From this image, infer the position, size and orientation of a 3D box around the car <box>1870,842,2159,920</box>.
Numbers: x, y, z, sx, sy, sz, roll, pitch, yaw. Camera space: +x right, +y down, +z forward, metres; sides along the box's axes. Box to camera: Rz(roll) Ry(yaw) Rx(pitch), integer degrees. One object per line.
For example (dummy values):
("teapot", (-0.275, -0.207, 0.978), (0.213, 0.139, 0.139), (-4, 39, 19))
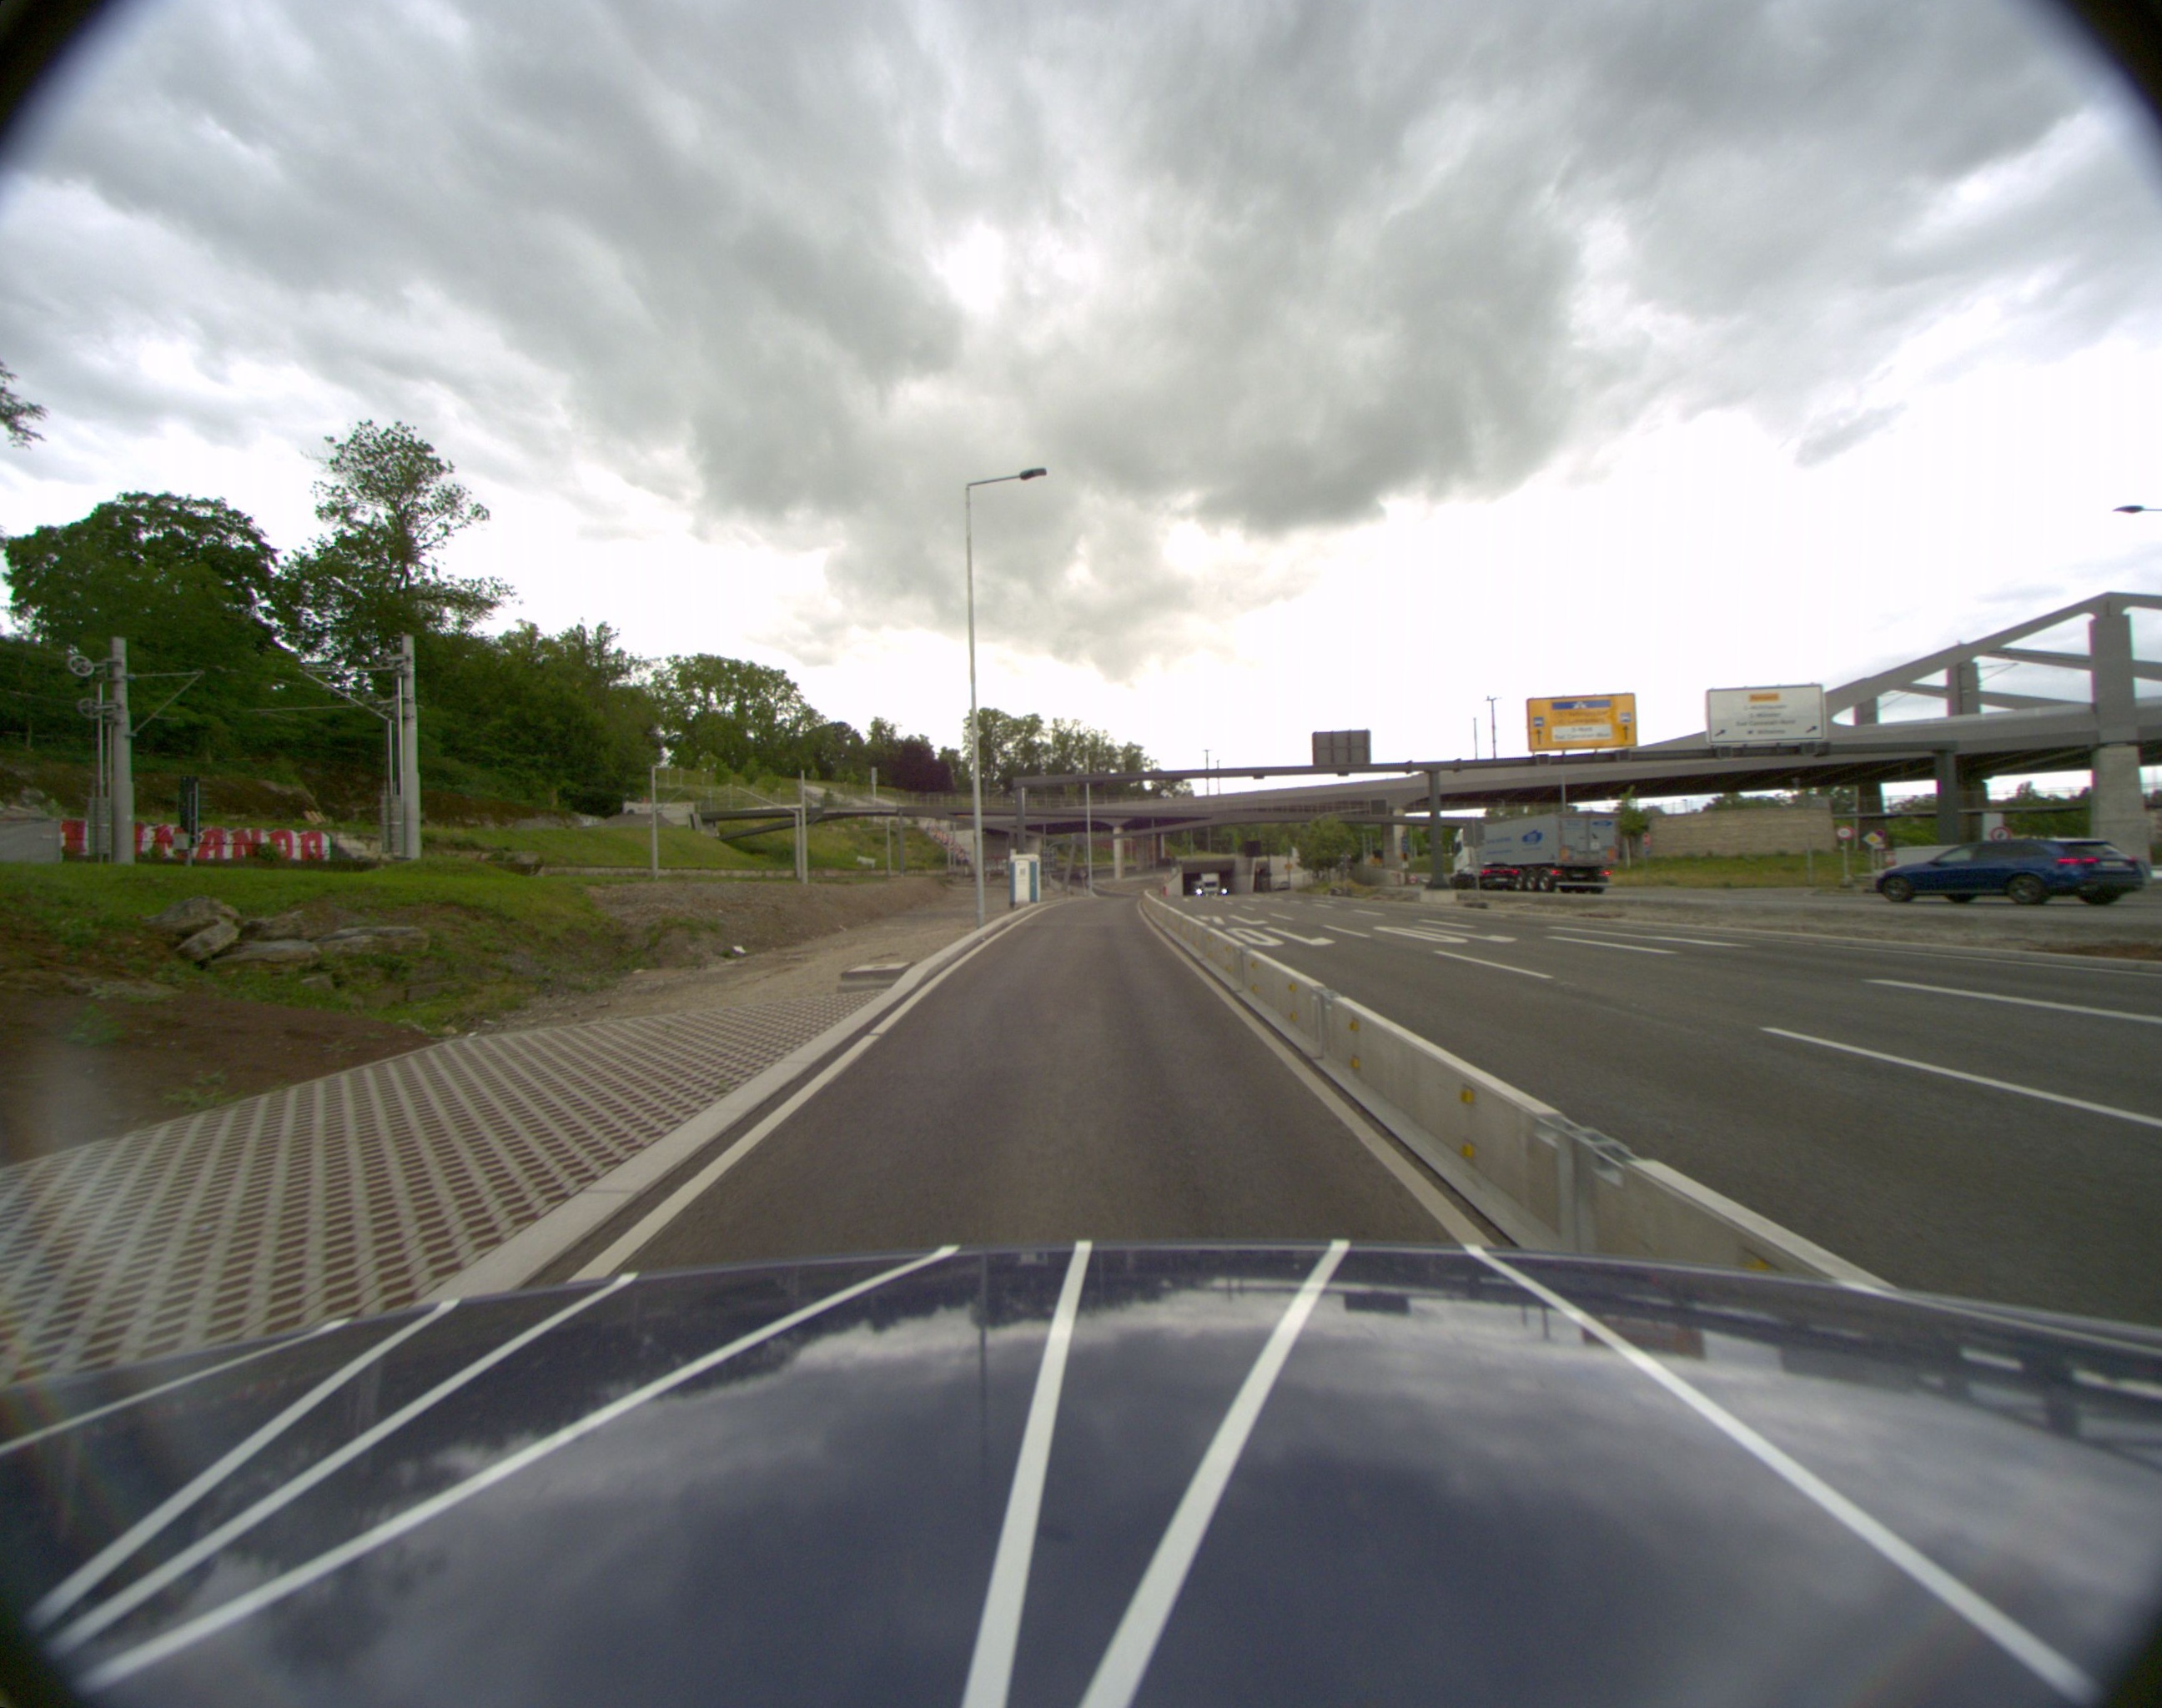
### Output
("car", (23.604, 0.690, 19.566), (1.890, 1.673, 4.490), (-3, -2, 1))

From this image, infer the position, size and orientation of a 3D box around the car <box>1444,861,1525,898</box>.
("car", (19.371, 1.211, 36.730), (1.710, 1.610, 4.454), (1, -1, 3))

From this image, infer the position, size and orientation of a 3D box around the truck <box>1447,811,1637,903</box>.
("truck", (23.937, 0.402, 40.922), (2.905, 4.036, 14.000), (-1, -2, 6))

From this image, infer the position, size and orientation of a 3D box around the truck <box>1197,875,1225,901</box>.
("truck", (17.533, 4.553, 103.137), (2.747, 3.107, 8.124), (-3, -2, 3))
